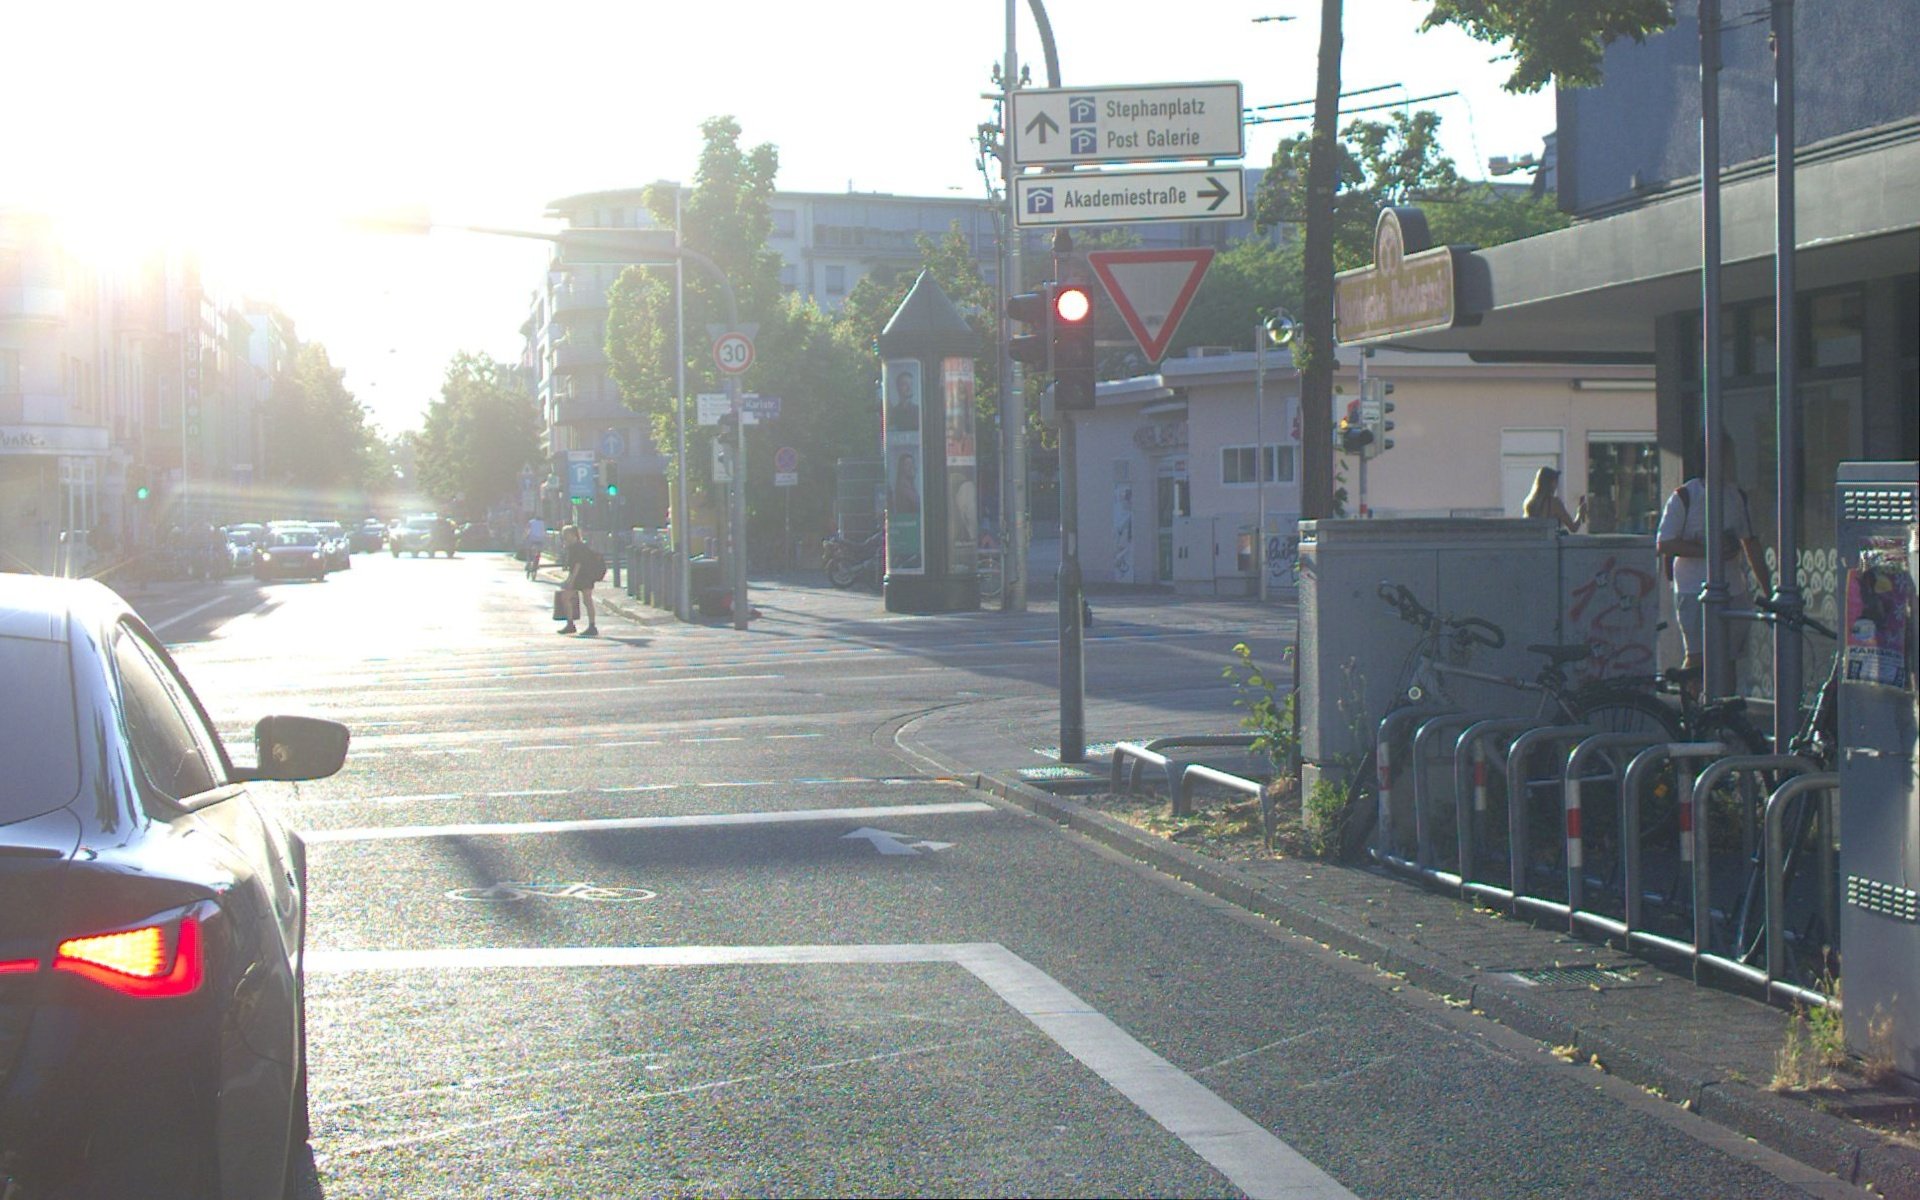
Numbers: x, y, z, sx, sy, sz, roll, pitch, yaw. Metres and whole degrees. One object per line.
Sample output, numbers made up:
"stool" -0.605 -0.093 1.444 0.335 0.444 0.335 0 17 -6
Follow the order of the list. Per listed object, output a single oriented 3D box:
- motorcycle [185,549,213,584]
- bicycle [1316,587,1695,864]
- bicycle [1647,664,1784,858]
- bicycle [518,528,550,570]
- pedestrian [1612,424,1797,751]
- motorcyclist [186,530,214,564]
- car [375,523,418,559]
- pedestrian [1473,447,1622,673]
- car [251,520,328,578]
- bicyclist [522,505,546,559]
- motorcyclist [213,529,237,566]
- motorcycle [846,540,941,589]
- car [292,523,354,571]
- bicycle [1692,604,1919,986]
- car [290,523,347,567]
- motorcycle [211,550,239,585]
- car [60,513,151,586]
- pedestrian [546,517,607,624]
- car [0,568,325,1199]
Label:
"motorcycle" -20.703 -0.920 93.591 0.575 0.912 2.201 1 1 -8
"bicycle" 2.401 0.544 15.163 1.612 1.167 0.318 -1 1 -6
"bicycle" 3.368 0.705 15.374 0.249 0.793 1.116 1 1 -6
"bicycle" -11.729 -1.399 94.612 0.550 1.155 2.145 0 1 -16
"pedestrian" 4.287 -0.080 19.825 0.835 1.835 0.679 -1 1 -8
"motorcyclist" -20.692 -1.449 93.573 0.575 0.912 2.201 1 1 -8
"car" -25.135 -2.644 153.402 1.817 1.514 4.001 -1 2 -8
"pedestrian" 5.047 -0.352 29.528 1.001 1.854 0.640 -5 3 -28
"car" -18.183 -1.397 93.370 1.817 1.514 4.001 -1 2 -8
"bicyclist" -11.732 -1.858 94.636 0.550 1.476 0.723 0 0 -16
"motorcyclist" -19.726 -1.413 92.307 0.575 0.992 0.703 1 1 -8
"motorcycle" -1.314 -0.704 67.776 1.668 0.935 0.856 -1 2 -19
"car" -20.952 -1.769 113.168 1.817 1.514 4.001 -1 2 -8
"bicycle" 3.172 0.634 11.287 1.440 1.216 0.383 1 1 -7
"car" -22.986 -1.992 123.290 1.817 1.514 4.001 -1 2 -8
"motorcycle" -19.747 -0.885 92.395 0.575 0.912 2.201 1 1 -8
"car" -21.615 -1.296 87.100 1.817 1.782 4.001 -1 2 -8
"pedestrian" -5.495 -0.419 49.250 0.732 1.524 0.472 0 1 -30
"car" -2.116 0.674 6.498 1.736 1.424 4.225 0 1 -10
